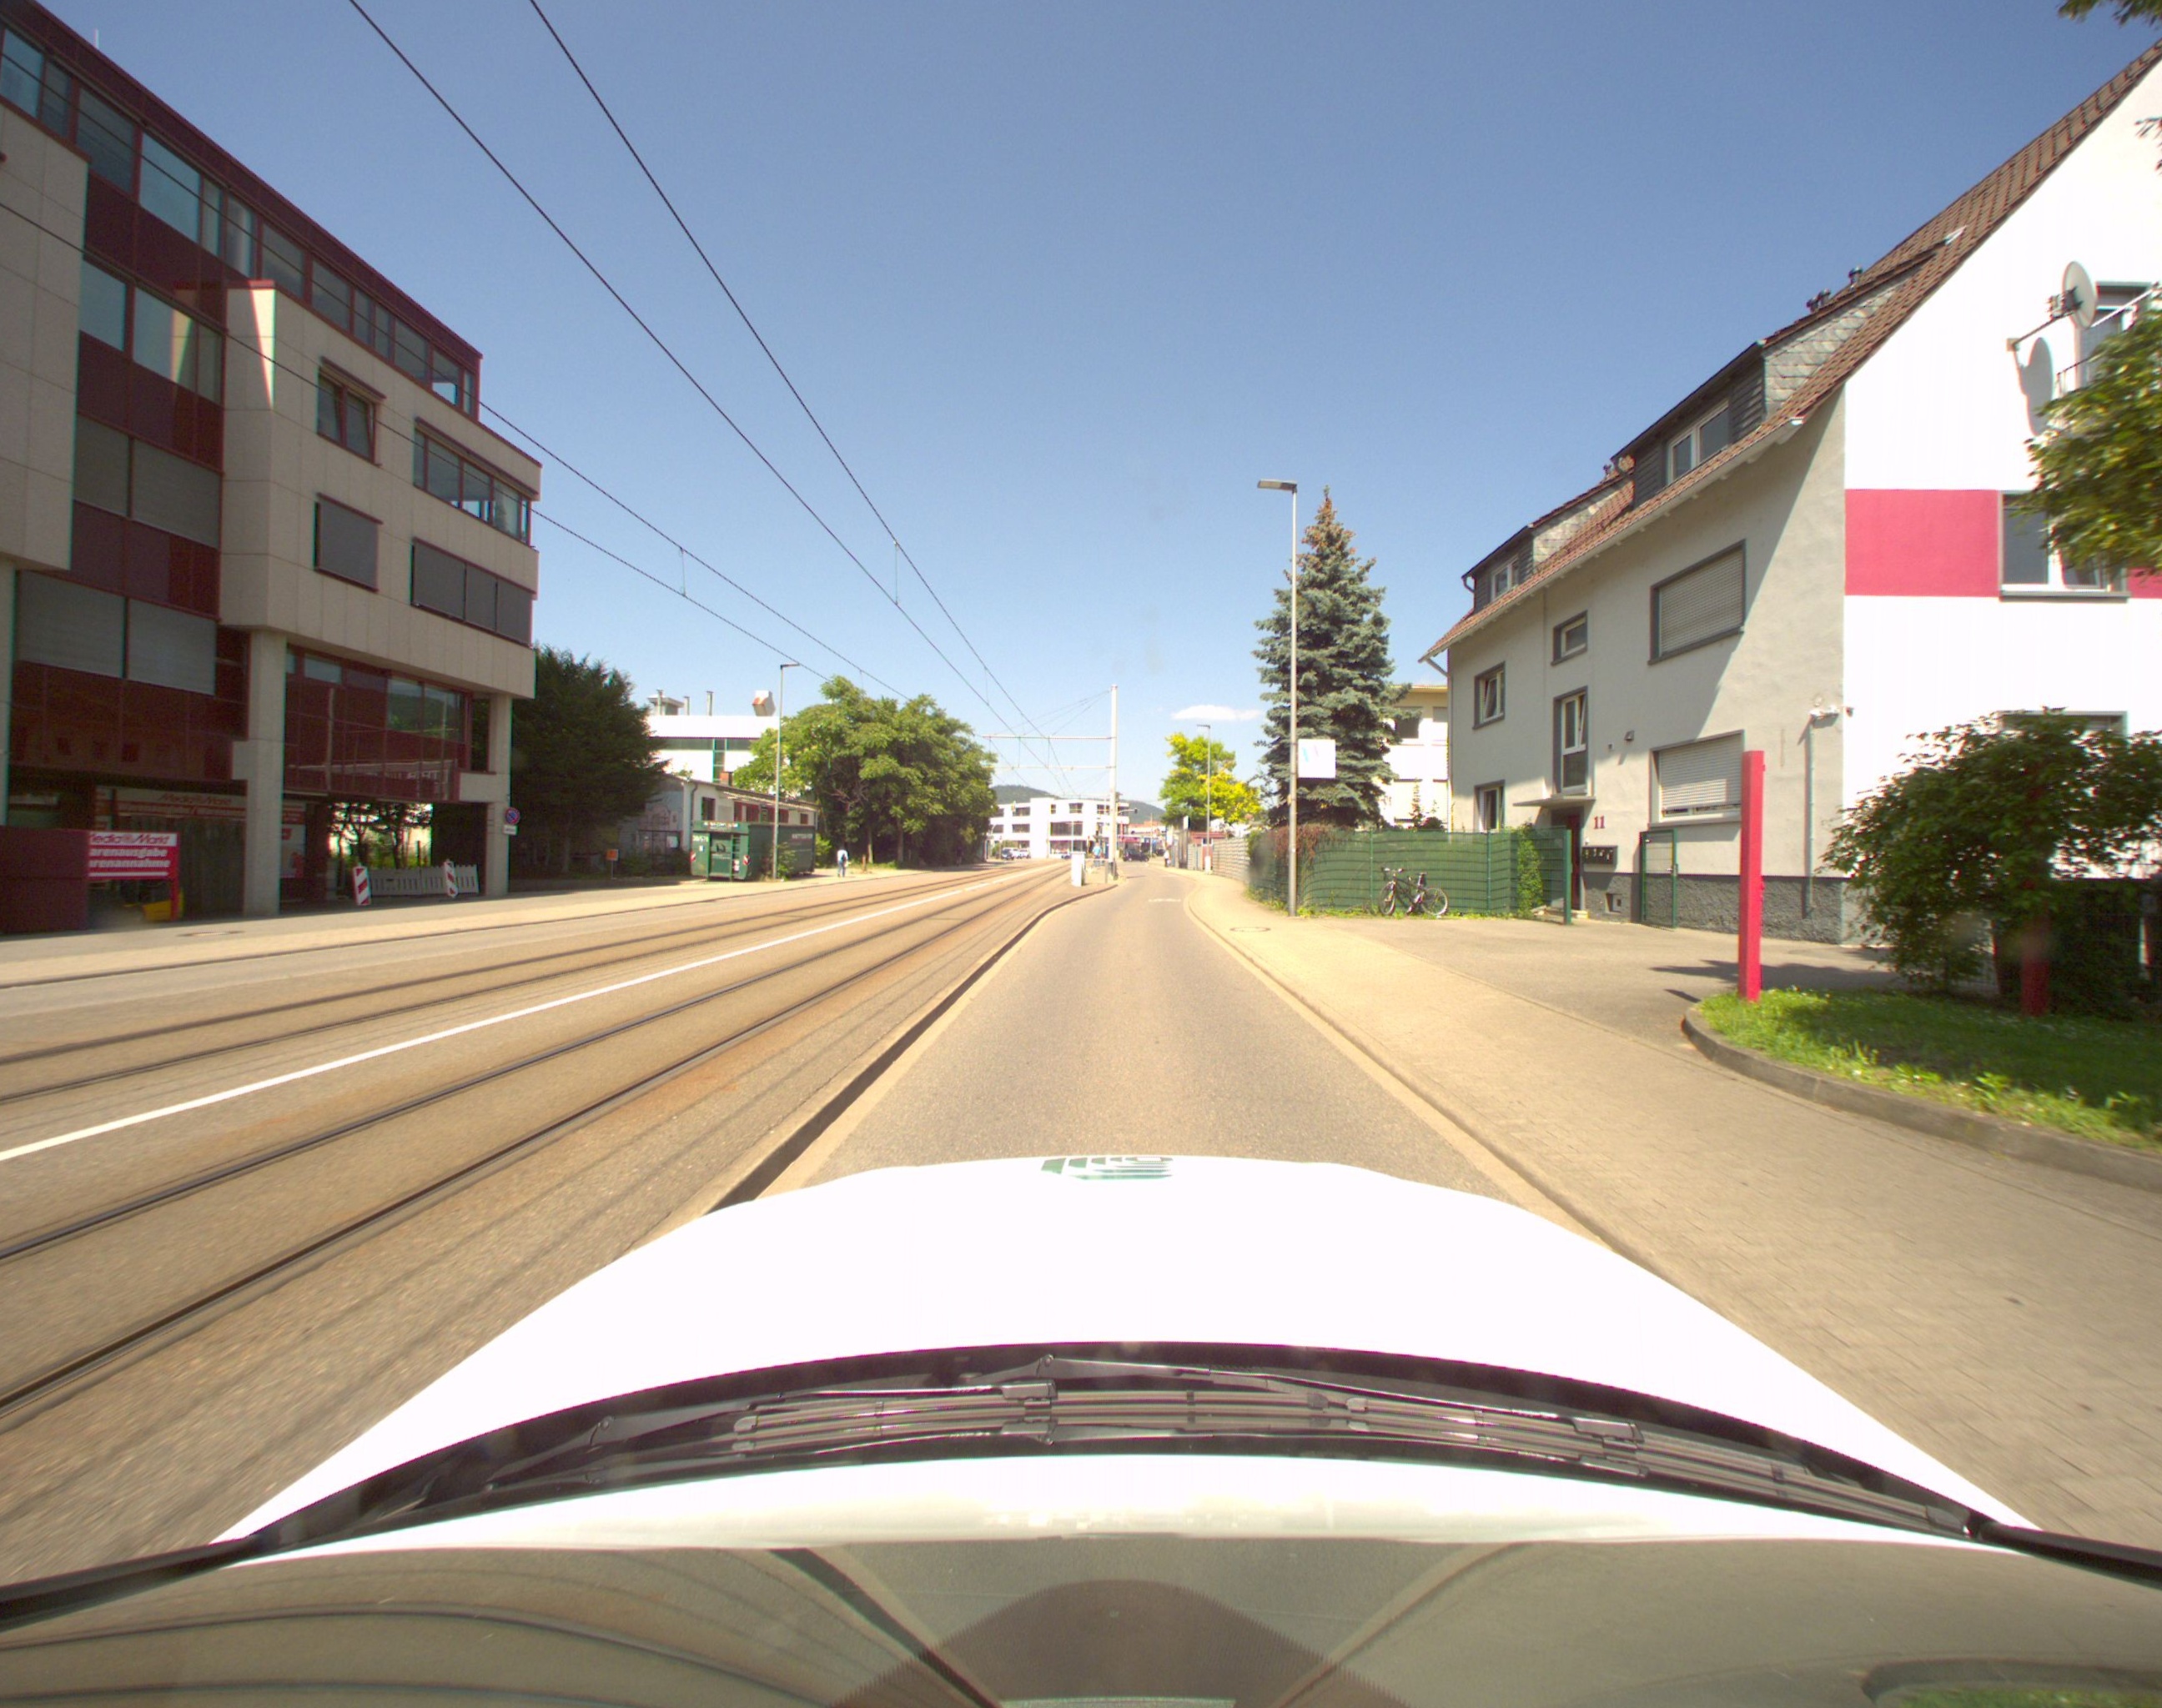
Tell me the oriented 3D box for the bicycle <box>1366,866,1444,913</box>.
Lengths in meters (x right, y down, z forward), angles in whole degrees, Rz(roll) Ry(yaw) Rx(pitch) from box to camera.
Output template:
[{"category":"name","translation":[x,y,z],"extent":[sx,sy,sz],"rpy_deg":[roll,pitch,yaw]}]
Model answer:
[{"category":"bicycle","translation":[6.804,0.747,17.114],"extent":[1.466,0.990,0.388],"rpy_deg":[0,-3,1]}]

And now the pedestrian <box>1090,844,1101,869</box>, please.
[{"category":"pedestrian","translation":[1.013,0.158,55.641],"extent":[0.740,1.740,0.727],"rpy_deg":[0,0,1]}]

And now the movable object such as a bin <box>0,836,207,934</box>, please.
[{"category":"movable object such as a bin","translation":[-22.069,0.640,18.203],"extent":[1.995,2.014,3.070],"rpy_deg":[0,0,-11]}]

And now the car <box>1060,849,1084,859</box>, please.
[{"category":"car","translation":[-1.538,-0.015,139.980],"extent":[3.894,1.680,1.725],"rpy_deg":[0,0,-10]}]

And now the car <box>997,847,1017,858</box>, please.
[{"category":"car","translation":[-10.593,-0.207,116.961],"extent":[1.794,1.552,3.970],"rpy_deg":[0,0,-23]}]

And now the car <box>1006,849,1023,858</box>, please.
[{"category":"car","translation":[-12.039,-0.123,147.056],"extent":[1.936,1.647,3.732],"rpy_deg":[0,0,-24]}]

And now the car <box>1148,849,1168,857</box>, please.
[{"category":"car","translation":[15.303,-0.254,161.391],"extent":[4.022,1.662,1.843],"rpy_deg":[0,0,-43]}]

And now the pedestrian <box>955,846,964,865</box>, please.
[{"category":"pedestrian","translation":[-10.367,0.130,69.526],"extent":[0.581,1.537,0.657],"rpy_deg":[0,0,1]}]

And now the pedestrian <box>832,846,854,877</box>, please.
[{"category":"pedestrian","translation":[-11.865,0.361,40.561],"extent":[0.831,1.537,0.839],"rpy_deg":[0,0,1]}]

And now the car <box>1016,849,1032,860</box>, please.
[{"category":"car","translation":[-9.165,0.043,131.431],"extent":[1.746,1.647,3.770],"rpy_deg":[0,0,7]}]

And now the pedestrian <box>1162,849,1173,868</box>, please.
[{"category":"pedestrian","translation":[8.241,0.456,77.573],"extent":[0.936,1.787,0.953],"rpy_deg":[1,1,1]}]

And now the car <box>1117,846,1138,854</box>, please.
[{"category":"car","translation":[9.378,-0.765,163.799],"extent":[4.021,1.662,1.715],"rpy_deg":[0,0,-41]}]
